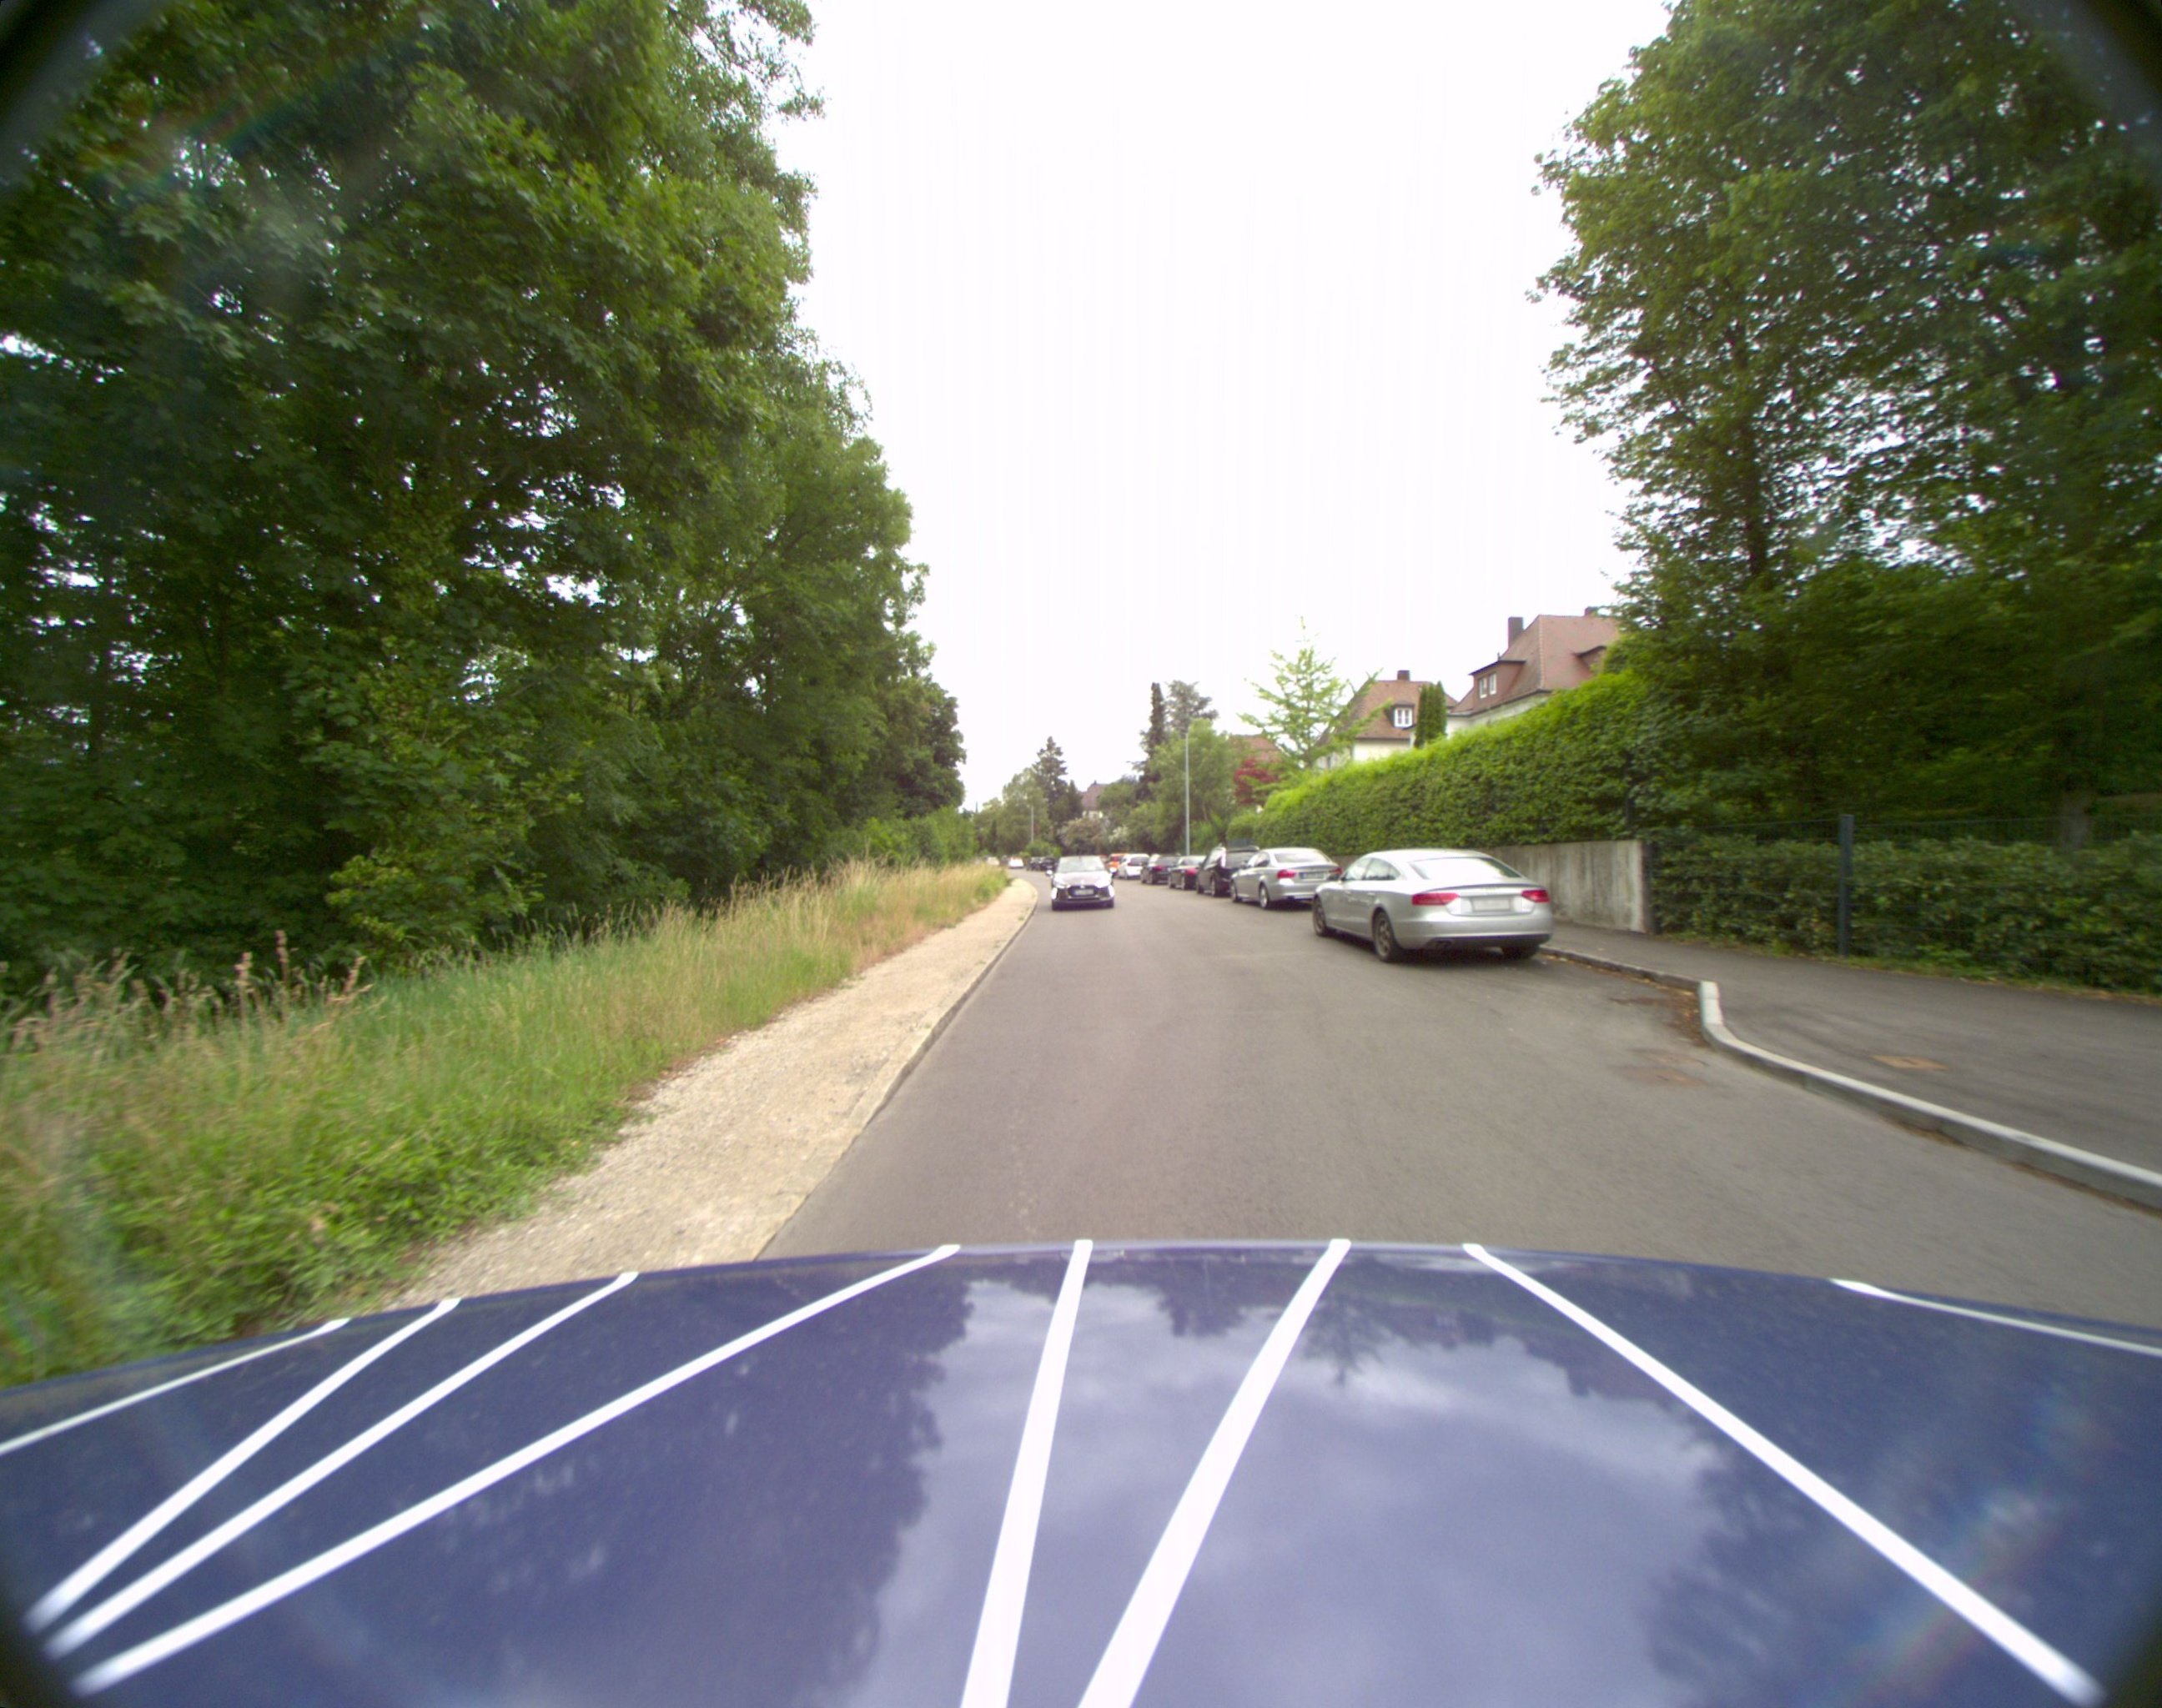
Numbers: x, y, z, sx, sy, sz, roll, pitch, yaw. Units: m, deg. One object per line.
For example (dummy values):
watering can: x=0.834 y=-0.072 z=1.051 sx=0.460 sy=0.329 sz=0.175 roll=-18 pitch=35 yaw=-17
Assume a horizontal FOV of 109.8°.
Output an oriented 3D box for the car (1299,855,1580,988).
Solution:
car: x=4.540 y=0.740 z=10.495 sx=1.836 sy=1.366 sz=4.445 roll=-2 pitch=0 yaw=1

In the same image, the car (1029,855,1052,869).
car: x=-4.435 y=0.871 z=82.656 sx=1.713 sy=1.408 sz=4.144 roll=-2 pitch=0 yaw=-14

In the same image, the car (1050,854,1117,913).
car: x=-0.015 y=0.776 z=21.982 sx=1.711 sy=1.466 sz=4.194 roll=-2 pitch=0 yaw=-2

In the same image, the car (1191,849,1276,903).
car: x=4.758 y=0.635 z=24.315 sx=1.661 sy=1.524 sz=4.473 roll=-2 pitch=0 yaw=-1

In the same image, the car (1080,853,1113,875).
car: x=1.106 y=0.731 z=56.628 sx=1.712 sy=1.505 sz=4.360 roll=-2 pitch=0 yaw=-9

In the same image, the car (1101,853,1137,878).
car: x=2.387 y=0.721 z=48.767 sx=1.549 sy=1.505 sz=3.641 roll=-2 pitch=0 yaw=-9

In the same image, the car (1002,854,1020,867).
car: x=-9.371 y=0.846 z=101.495 sx=1.798 sy=1.654 sz=4.386 roll=-2 pitch=0 yaw=-14

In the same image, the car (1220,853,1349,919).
car: x=4.857 y=0.695 z=18.799 sx=1.780 sy=1.366 sz=4.339 roll=-2 pitch=0 yaw=-3

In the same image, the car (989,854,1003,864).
car: x=-13.088 y=0.794 z=116.504 sx=1.713 sy=1.502 sz=4.549 roll=-2 pitch=0 yaw=-12

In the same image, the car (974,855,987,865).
car: x=-17.837 y=1.020 z=134.976 sx=1.802 sy=1.598 sz=4.724 roll=-2 pitch=0 yaw=-14

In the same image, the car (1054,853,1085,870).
car: x=-1.052 y=0.675 z=66.398 sx=1.713 sy=1.402 sz=4.155 roll=-2 pitch=0 yaw=-14

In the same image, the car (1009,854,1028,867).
car: x=-7.957 y=0.836 z=97.034 sx=1.713 sy=1.502 sz=3.941 roll=-2 pitch=0 yaw=-14

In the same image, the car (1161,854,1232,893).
car: x=4.461 y=0.717 z=29.974 sx=1.716 sy=1.333 sz=4.105 roll=-2 pitch=0 yaw=-6

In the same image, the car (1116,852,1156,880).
car: x=3.149 y=0.658 z=44.028 sx=1.593 sy=1.505 sz=3.588 roll=-2 pitch=0 yaw=-7

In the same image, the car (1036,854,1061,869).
car: x=-3.335 y=0.779 z=77.892 sx=1.713 sy=1.408 sz=4.127 roll=-2 pitch=0 yaw=-14

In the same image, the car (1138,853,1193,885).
car: x=3.948 y=0.674 z=36.122 sx=1.723 sy=1.377 sz=4.661 roll=-2 pitch=0 yaw=-4
